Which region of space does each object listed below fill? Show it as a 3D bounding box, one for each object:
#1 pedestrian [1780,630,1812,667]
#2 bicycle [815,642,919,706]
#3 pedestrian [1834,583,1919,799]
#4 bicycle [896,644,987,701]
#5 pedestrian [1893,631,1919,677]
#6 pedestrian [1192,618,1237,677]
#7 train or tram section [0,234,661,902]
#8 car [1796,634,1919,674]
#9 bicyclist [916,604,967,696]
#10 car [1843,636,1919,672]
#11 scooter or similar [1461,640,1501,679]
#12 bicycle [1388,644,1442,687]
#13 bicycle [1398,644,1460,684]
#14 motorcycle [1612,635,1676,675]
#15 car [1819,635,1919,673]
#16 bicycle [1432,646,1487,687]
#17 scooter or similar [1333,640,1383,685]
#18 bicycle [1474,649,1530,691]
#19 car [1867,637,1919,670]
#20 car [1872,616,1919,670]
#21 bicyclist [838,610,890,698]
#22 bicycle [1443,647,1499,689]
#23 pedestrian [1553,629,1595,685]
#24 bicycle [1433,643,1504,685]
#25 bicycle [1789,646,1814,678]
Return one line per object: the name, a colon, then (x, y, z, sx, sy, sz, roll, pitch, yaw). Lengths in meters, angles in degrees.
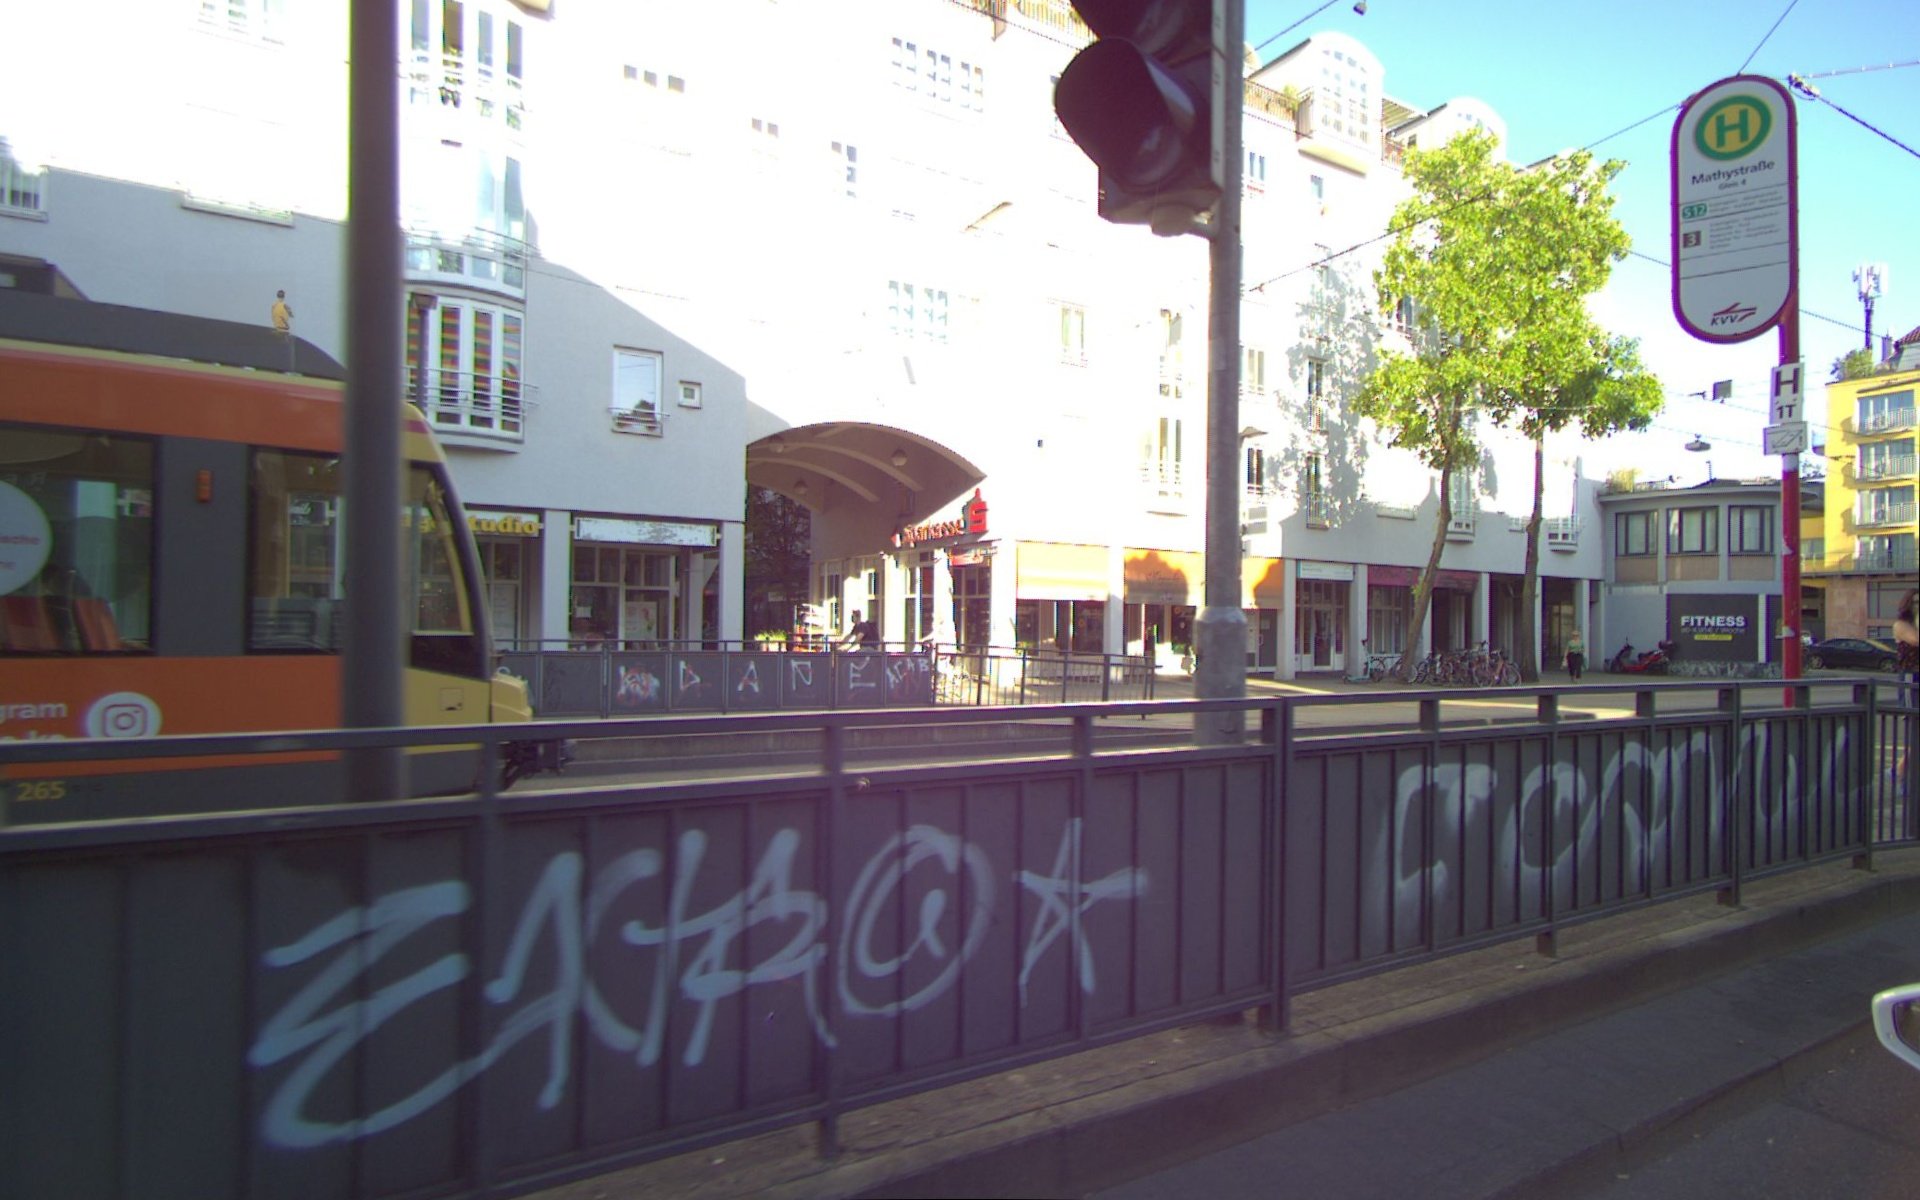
pedestrian: (38.731, 2.242, 46.545, 0.873, 1.674, 0.764, 1, 0, 17)
bicycle: (-1.723, 1.358, 18.642, 1.779, 1.122, 0.726, 2, -2, -31)
pedestrian: (8.048, 0.740, 8.415, 0.779, 1.737, 0.864, 0, 2, -33)
bicycle: (-0.378, 1.491, 20.823, 1.779, 1.122, 0.652, 2, -1, -31)
pedestrian: (38.593, 2.173, 40.469, 1.129, 1.839, 0.912, 1, 0, 8)
pedestrian: (7.481, 1.393, 29.578, 0.870, 1.683, 0.853, 2, 1, -33)
train or tram section: (-9.207, -0.318, 4.512, 14.780, 3.536, 2.870, 2, -1, -31)
car: (39.650, 2.313, 44.006, 1.779, 1.530, 4.300, 2, -1, -29)
bicyclist: (-0.381, 1.021, 20.828, 0.835, 1.860, 0.652, 1, -1, -30)
car: (44.055, 2.519, 46.832, 1.779, 1.530, 3.969, 2, -1, -29)
scooter or similar: (16.275, 1.856, 31.370, 1.257, 1.208, 0.496, 2, -1, -30)
bicycle: (12.874, 1.855, 28.433, 1.247, 1.122, 0.500, 2, 2, -4)
bicycle: (13.704, 1.871, 29.341, 1.772, 1.122, 0.498, 2, 2, -19)
motorcycle: (24.939, 1.986, 36.659, 0.600, 1.315, 1.781, 2, 2, -36)
car: (41.825, 2.437, 45.595, 1.779, 1.530, 3.969, 2, -1, -29)
bicycle: (14.402, 1.912, 28.957, 1.779, 1.122, 0.496, 1, 2, -31)
scooter or similar: (11.281, 1.761, 28.447, 1.252, 1.209, 0.498, 1, 2, -19)
bicycle: (15.348, 1.970, 28.417, 1.779, 1.122, 0.496, 1, 2, -31)
car: (46.257, 2.597, 48.018, 1.779, 1.530, 3.969, 2, -1, -29)
car: (48.479, 2.171, 49.289, 2.103, 2.610, 5.082, 2, -1, -29)
bicyclist: (-1.781, 0.994, 18.618, 0.711, 1.589, 0.726, 1, -1, -30)
bicycle: (14.518, 1.923, 28.529, 1.779, 1.122, 0.496, 1, 2, -31)
pedestrian: (19.512, 1.791, 31.897, 1.000, 1.683, 0.918, 3, 1, 36)
bicycle: (15.192, 1.907, 30.052, 1.763, 1.122, 0.500, 2, 2, 10)
bicycle: (31.526, 2.307, 37.626, 1.788, 1.122, 0.494, 2, -1, -43)
